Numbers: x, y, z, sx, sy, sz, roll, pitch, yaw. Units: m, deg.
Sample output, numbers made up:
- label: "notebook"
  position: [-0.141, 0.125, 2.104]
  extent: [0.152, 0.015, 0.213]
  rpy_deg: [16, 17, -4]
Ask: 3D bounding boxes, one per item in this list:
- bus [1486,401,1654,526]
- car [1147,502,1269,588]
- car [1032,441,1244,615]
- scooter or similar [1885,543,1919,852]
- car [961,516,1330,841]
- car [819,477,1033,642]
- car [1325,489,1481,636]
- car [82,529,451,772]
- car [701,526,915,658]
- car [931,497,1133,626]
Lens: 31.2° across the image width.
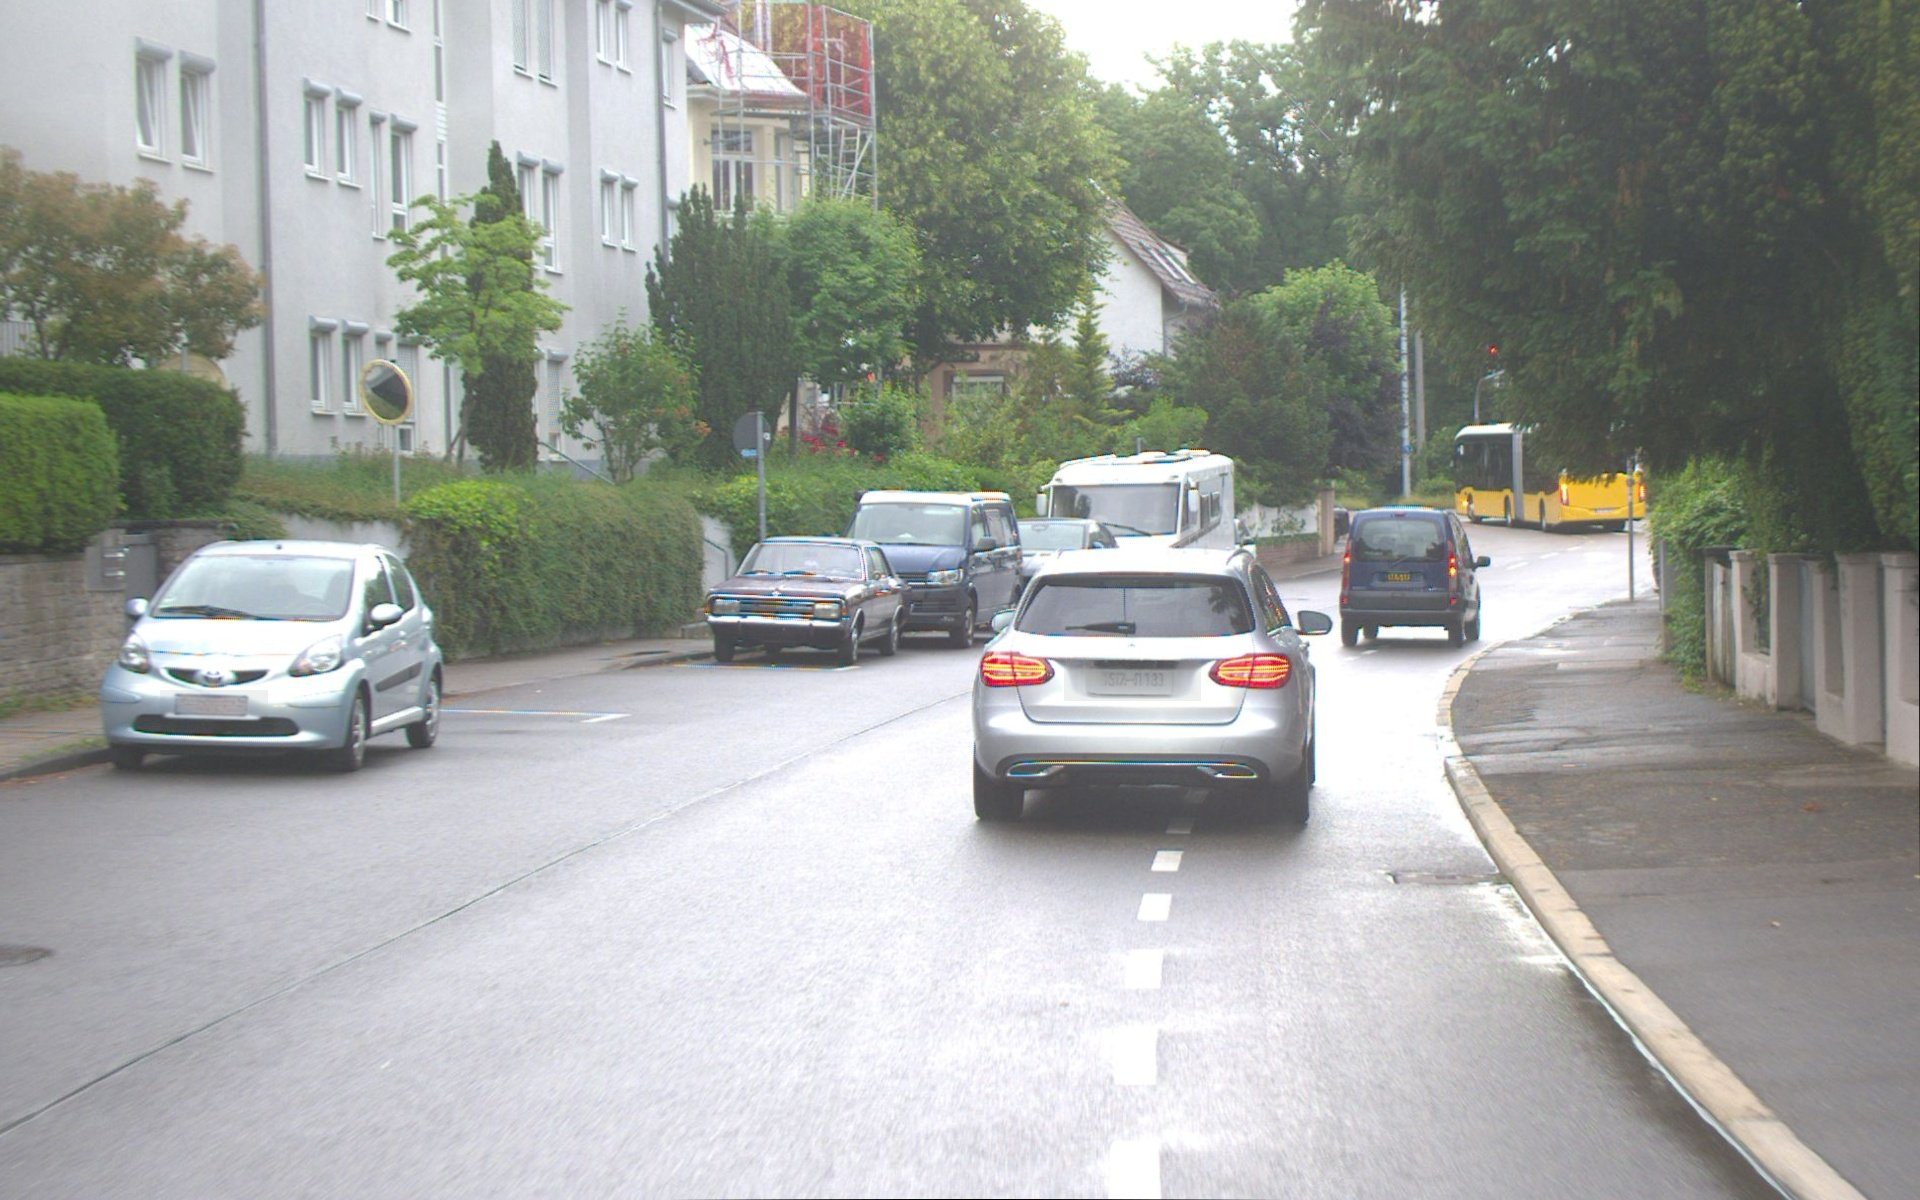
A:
- label: "bus"
  position: [18.905, -4.351, 107.274]
  extent: [2.928, 3.638, 10.171]
  rpy_deg: [0, 4, -3]
- label: "car"
  position: [4.711, -1.055, 64.908]
  extent: [1.714, 1.442, 3.253]
  rpy_deg: [1, 4, 15]
- label: "car"
  position: [3.161, -1.330, 59.430]
  extent: [2.392, 2.762, 6.528]
  rpy_deg: [1, 3, 14]
- label: "scooter or similar"
  position: [4.257, 0.412, 14.358]
  extent: [0.449, 1.303, 1.481]
  rpy_deg: [-2, 1, 4]
- label: "car"
  position: [1.093, 0.341, 19.121]
  extent: [1.816, 1.551, 4.000]
  rpy_deg: [1, 2, 5]
- label: "car"
  position: [-0.382, -0.566, 45.790]
  extent: [1.830, 2.049, 5.007]
  rpy_deg: [1, 1, 11]
- label: "car"
  position: [6.059, -0.531, 46.702]
  extent: [1.844, 1.897, 3.998]
  rpy_deg: [1, 1, 11]
- label: "car"
  position: [-4.545, 0.275, 22.974]
  extent: [1.605, 1.481, 3.487]
  rpy_deg: [0, 1, 3]
- label: "car"
  position: [-1.730, -0.139, 40.610]
  extent: [1.644, 1.412, 4.611]
  rpy_deg: [1, 2, 9]
- label: "car"
  position: [1.152, -0.630, 51.929]
  extent: [1.995, 1.682, 4.674]
  rpy_deg: [1, 4, 15]
